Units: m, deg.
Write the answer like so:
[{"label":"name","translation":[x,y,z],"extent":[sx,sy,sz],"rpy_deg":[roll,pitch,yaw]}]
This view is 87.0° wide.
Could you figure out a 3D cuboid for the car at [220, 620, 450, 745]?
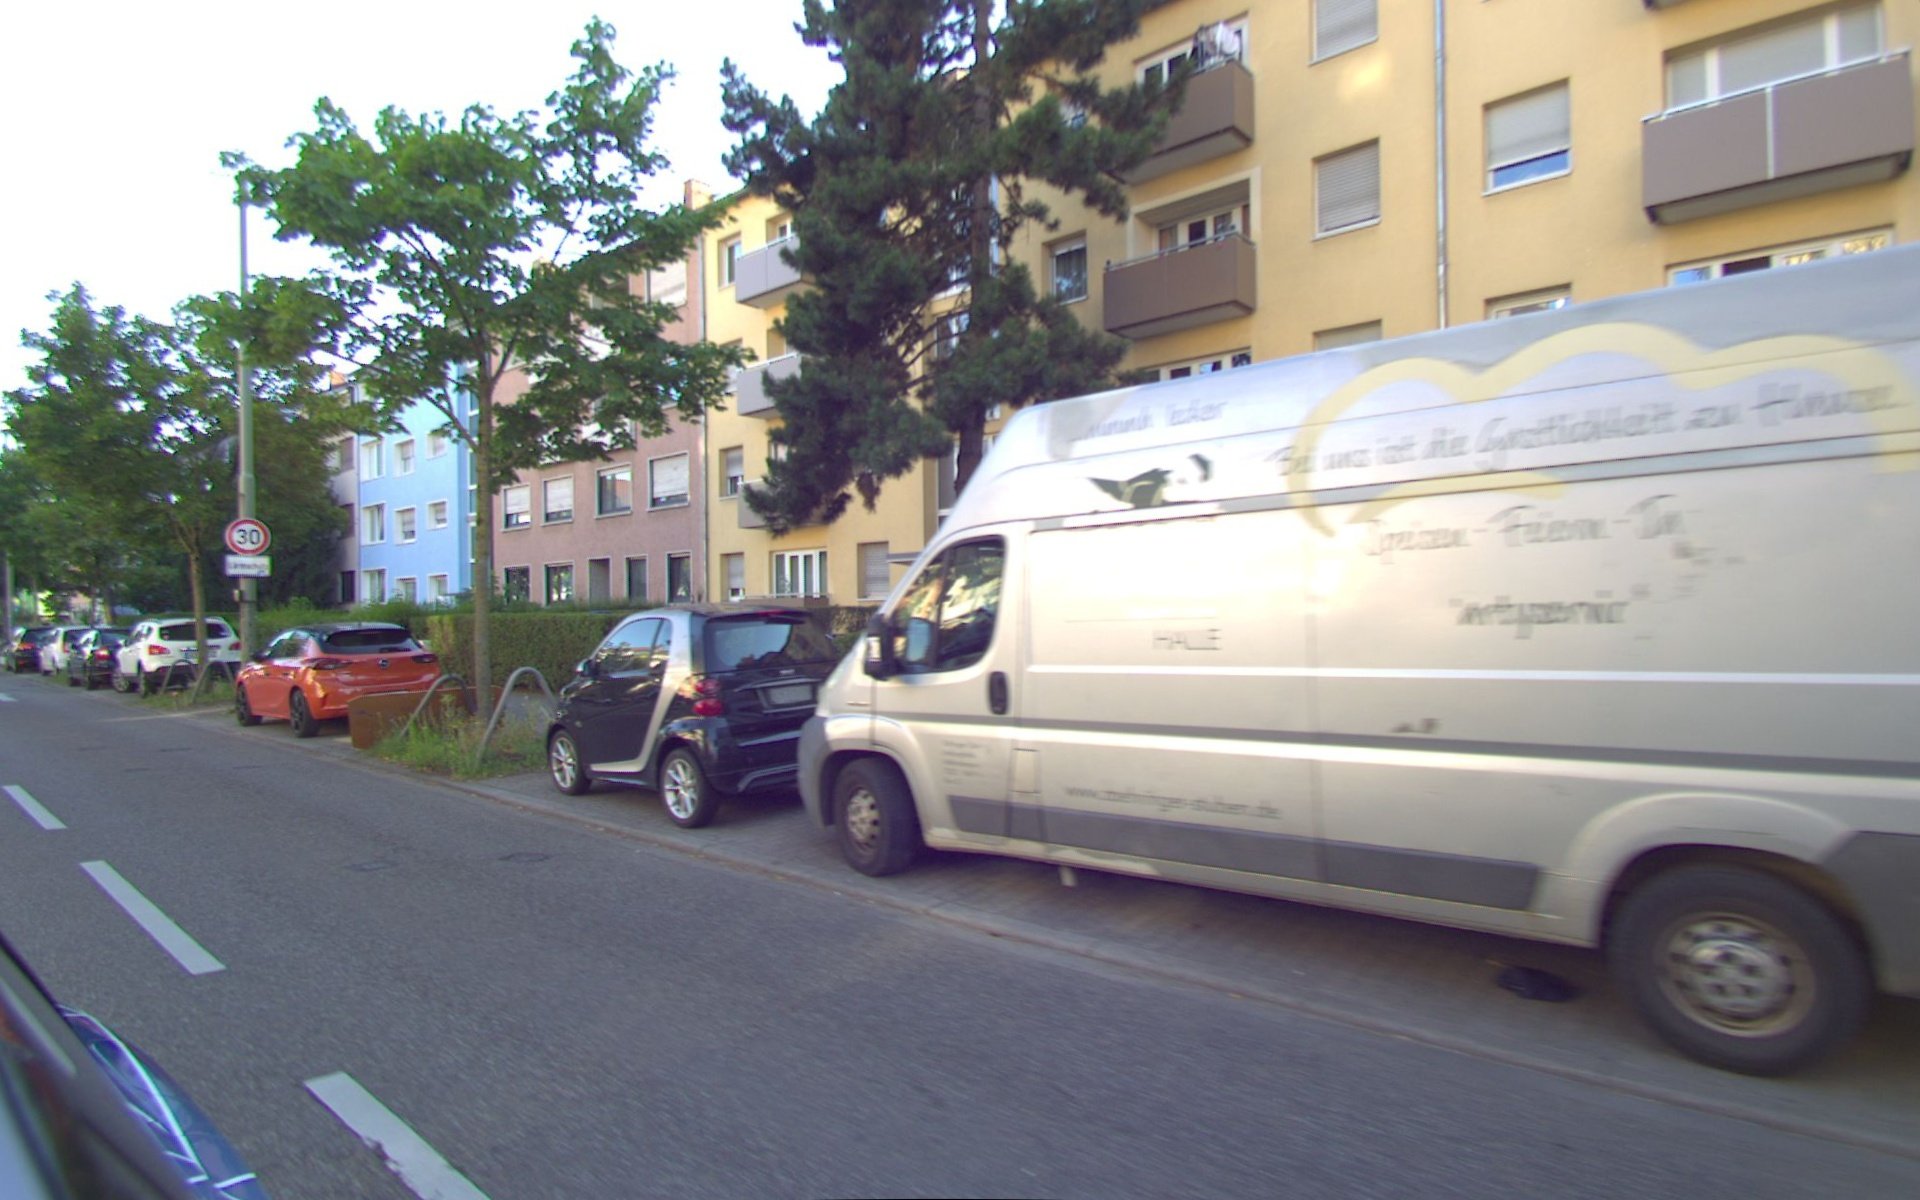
[{"label":"car","translation":[-8.918,1.072,14.320],"extent":[3.921,1.463,1.699],"rpy_deg":[-2,0,41]}]

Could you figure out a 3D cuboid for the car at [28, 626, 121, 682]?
[{"label":"car","translation":[-26.361,1.560,30.100],"extent":[3.640,1.503,1.574],"rpy_deg":[-1,0,41]}]

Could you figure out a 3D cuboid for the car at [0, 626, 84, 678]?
[{"label":"car","translation":[-30.368,1.656,33.313],"extent":[4.315,1.529,1.818],"rpy_deg":[-2,0,42]}]

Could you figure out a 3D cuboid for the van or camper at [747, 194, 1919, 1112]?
[{"label":"van or camper","translation":[1.684,0.176,5.167],"extent":[6.009,2.683,2.016],"rpy_deg":[-2,1,39]}]

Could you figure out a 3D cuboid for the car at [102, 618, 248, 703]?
[{"label":"car","translation":[-17.057,1.240,21.910],"extent":[4.184,1.600,1.758],"rpy_deg":[-2,0,42]}]

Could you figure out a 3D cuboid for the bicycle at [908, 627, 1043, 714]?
[{"label":"bicycle","translation":[0.228,0.868,12.998],"extent":[0.582,0.932,1.915],"rpy_deg":[-2,1,42]}]

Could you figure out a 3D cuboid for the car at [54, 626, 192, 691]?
[{"label":"car","translation":[-20.940,1.395,25.266],"extent":[4.456,1.459,1.973],"rpy_deg":[-1,-1,41]}]

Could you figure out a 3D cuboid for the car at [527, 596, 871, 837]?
[{"label":"car","translation":[-2.188,0.804,8.195],"extent":[2.762,1.560,1.388],"rpy_deg":[-2,1,43]}]
